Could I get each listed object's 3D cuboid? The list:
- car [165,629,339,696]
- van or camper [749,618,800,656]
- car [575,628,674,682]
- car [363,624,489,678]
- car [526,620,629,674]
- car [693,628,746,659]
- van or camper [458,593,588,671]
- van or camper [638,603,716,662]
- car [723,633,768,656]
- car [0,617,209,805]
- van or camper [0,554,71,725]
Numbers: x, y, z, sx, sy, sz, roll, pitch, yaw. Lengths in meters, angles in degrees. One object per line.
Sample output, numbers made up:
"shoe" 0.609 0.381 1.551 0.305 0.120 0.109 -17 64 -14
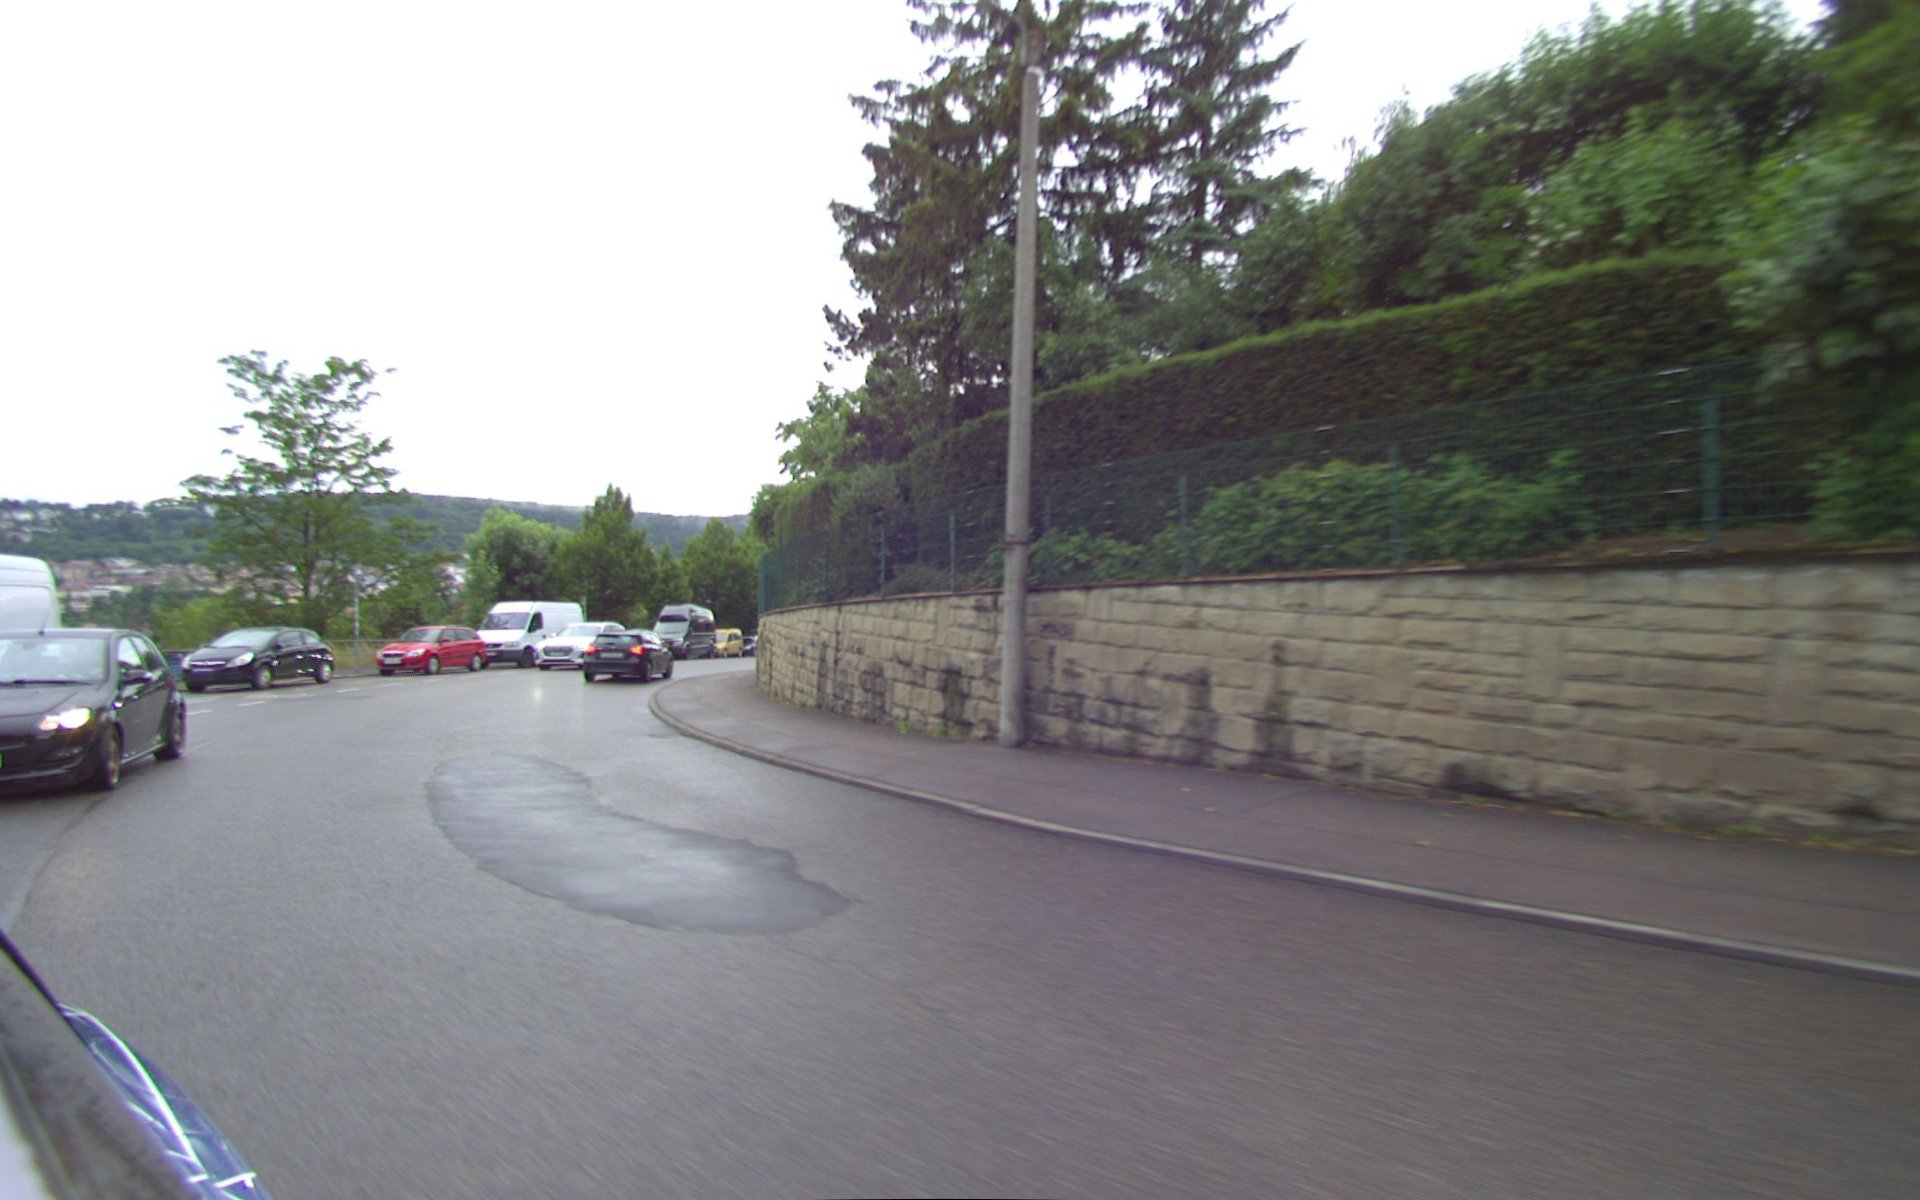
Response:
"car" -17.089 1.471 24.684 1.675 1.455 3.950 -2 -2 -3
"van or camper" -13.229 2.675 72.608 2.144 2.575 5.606 -2 -3 5
"car" -9.595 1.556 29.284 1.766 1.445 4.118 1 -2 -5
"car" -16.800 1.592 32.064 1.604 1.552 4.210 -1 -2 3
"car" -13.243 1.600 35.407 2.159 1.721 4.888 0 -2 -5
"car" -14.267 2.584 60.235 1.705 1.762 4.393 -2 -3 7
"van or camper" -16.228 1.237 37.981 2.055 2.681 5.585 -1 -3 6
"van or camper" -14.917 1.738 53.721 2.105 2.932 5.717 -1 -3 6
"car" -13.940 2.883 66.026 1.704 1.385 4.396 -2 -3 5
"car" -8.957 0.948 9.923 1.754 1.497 4.419 1 -2 -26
"van or camper" -15.322 0.550 14.201 2.038 2.600 5.905 1 -2 -18
